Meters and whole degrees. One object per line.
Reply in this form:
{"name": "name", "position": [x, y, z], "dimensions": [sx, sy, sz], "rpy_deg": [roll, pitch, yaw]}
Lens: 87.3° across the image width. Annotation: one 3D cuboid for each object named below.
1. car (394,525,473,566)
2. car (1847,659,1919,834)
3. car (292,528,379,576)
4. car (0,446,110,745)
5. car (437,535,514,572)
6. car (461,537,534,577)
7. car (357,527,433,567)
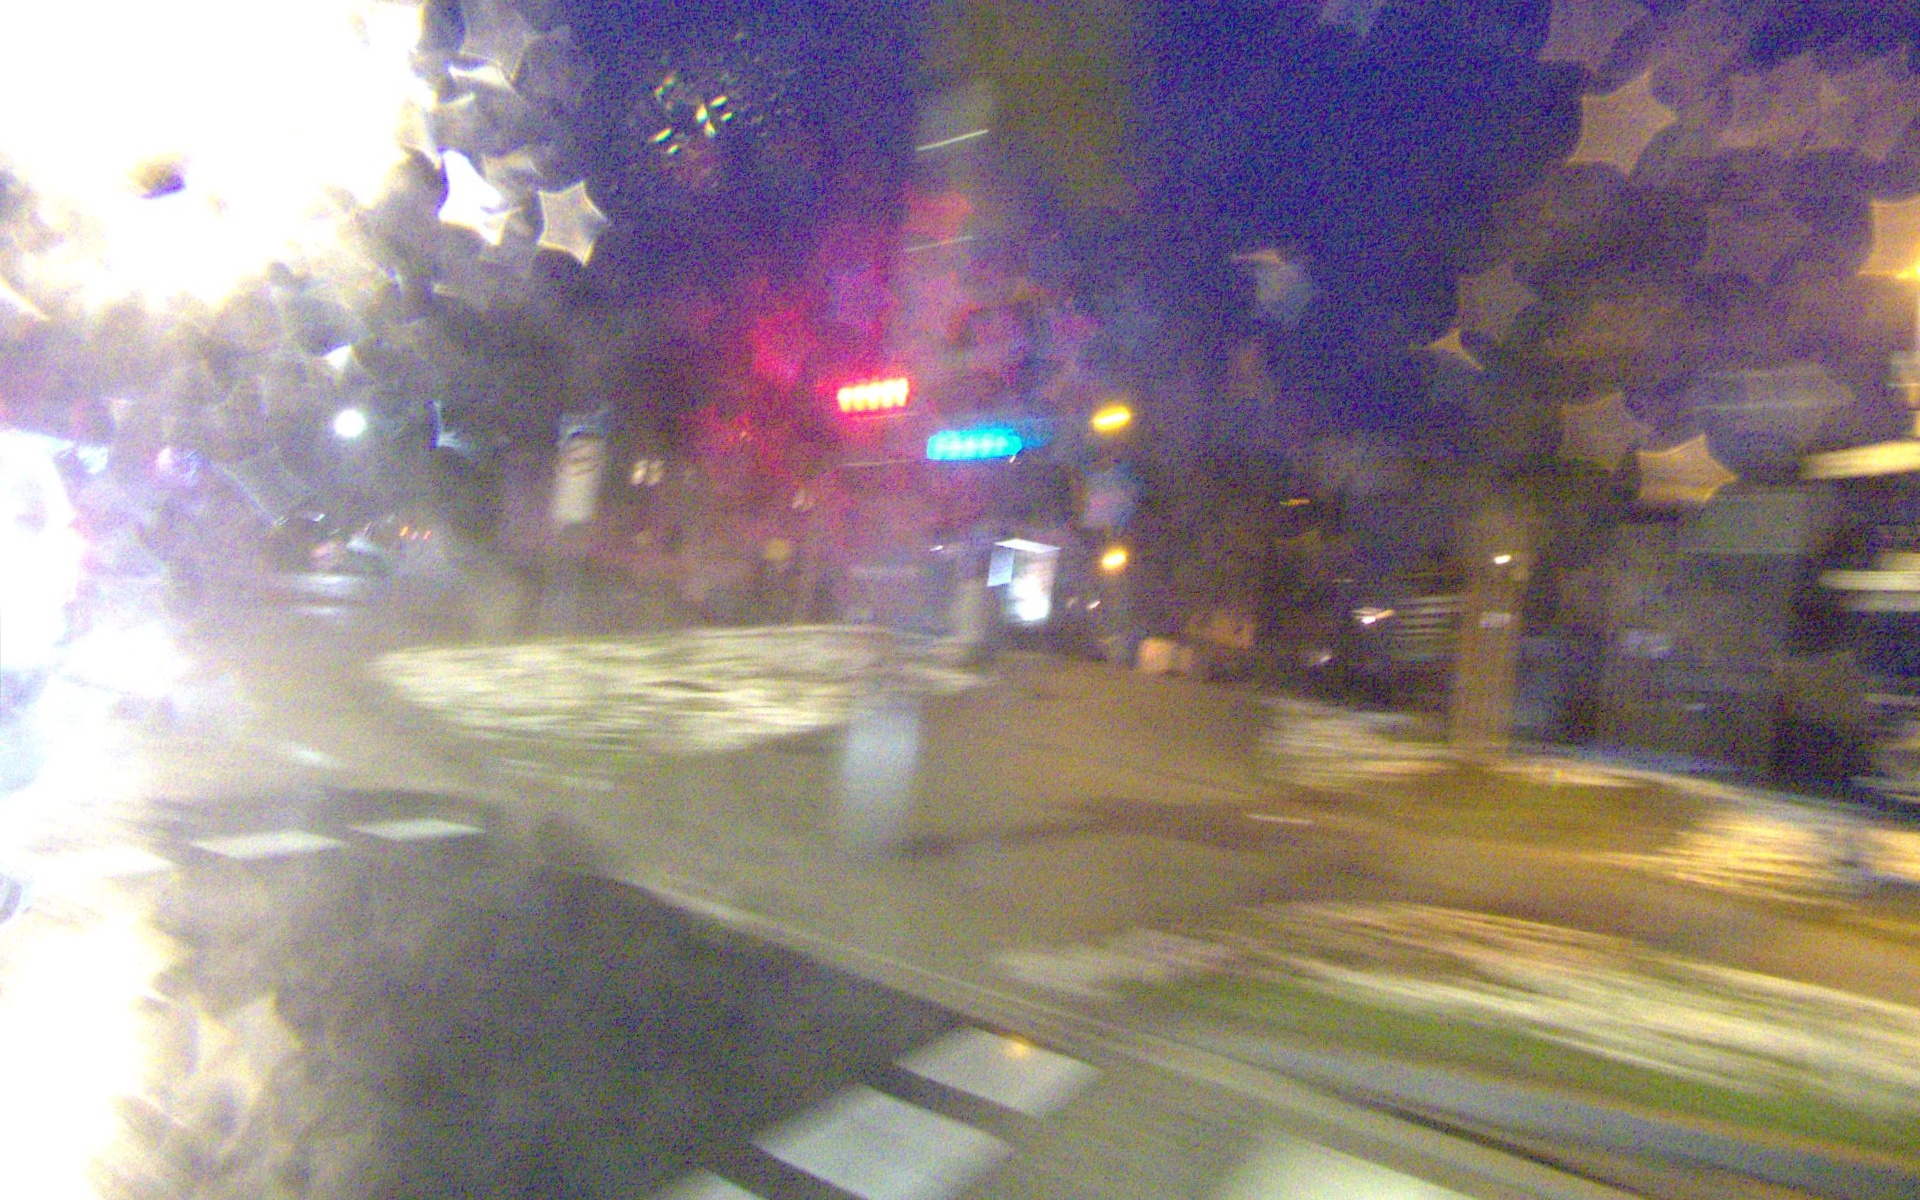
{"name": "car", "position": [-34.472, -3.556, 65.871], "dimensions": [1.974, 2.036, 3.982], "rpy_deg": [6, -3, 43]}
{"name": "car", "position": [10.861, 1.656, 9.787], "dimensions": [3.839, 1.591, 1.824], "rpy_deg": [9, -2, -24]}
{"name": "car", "position": [-26.656, -2.052, 42.903], "dimensions": [3.905, 1.667, 1.863], "rpy_deg": [6, 0, 39]}
{"name": "car", "position": [-8.156, -0.275, 7.011], "dimensions": [4.266, 1.886, 1.857], "rpy_deg": [6, -2, 29]}
{"name": "car", "position": [-31.416, -2.993, 65.288], "dimensions": [3.979, 1.725, 1.975], "rpy_deg": [10, -3, -44]}
{"name": "car", "position": [-31.929, -2.972, 69.542], "dimensions": [1.972, 2.036, 3.985], "rpy_deg": [6, -3, 41]}
{"name": "car", "position": [-30.741, -2.875, 54.717], "dimensions": [4.004, 1.687, 1.775], "rpy_deg": [6, -2, 33]}
